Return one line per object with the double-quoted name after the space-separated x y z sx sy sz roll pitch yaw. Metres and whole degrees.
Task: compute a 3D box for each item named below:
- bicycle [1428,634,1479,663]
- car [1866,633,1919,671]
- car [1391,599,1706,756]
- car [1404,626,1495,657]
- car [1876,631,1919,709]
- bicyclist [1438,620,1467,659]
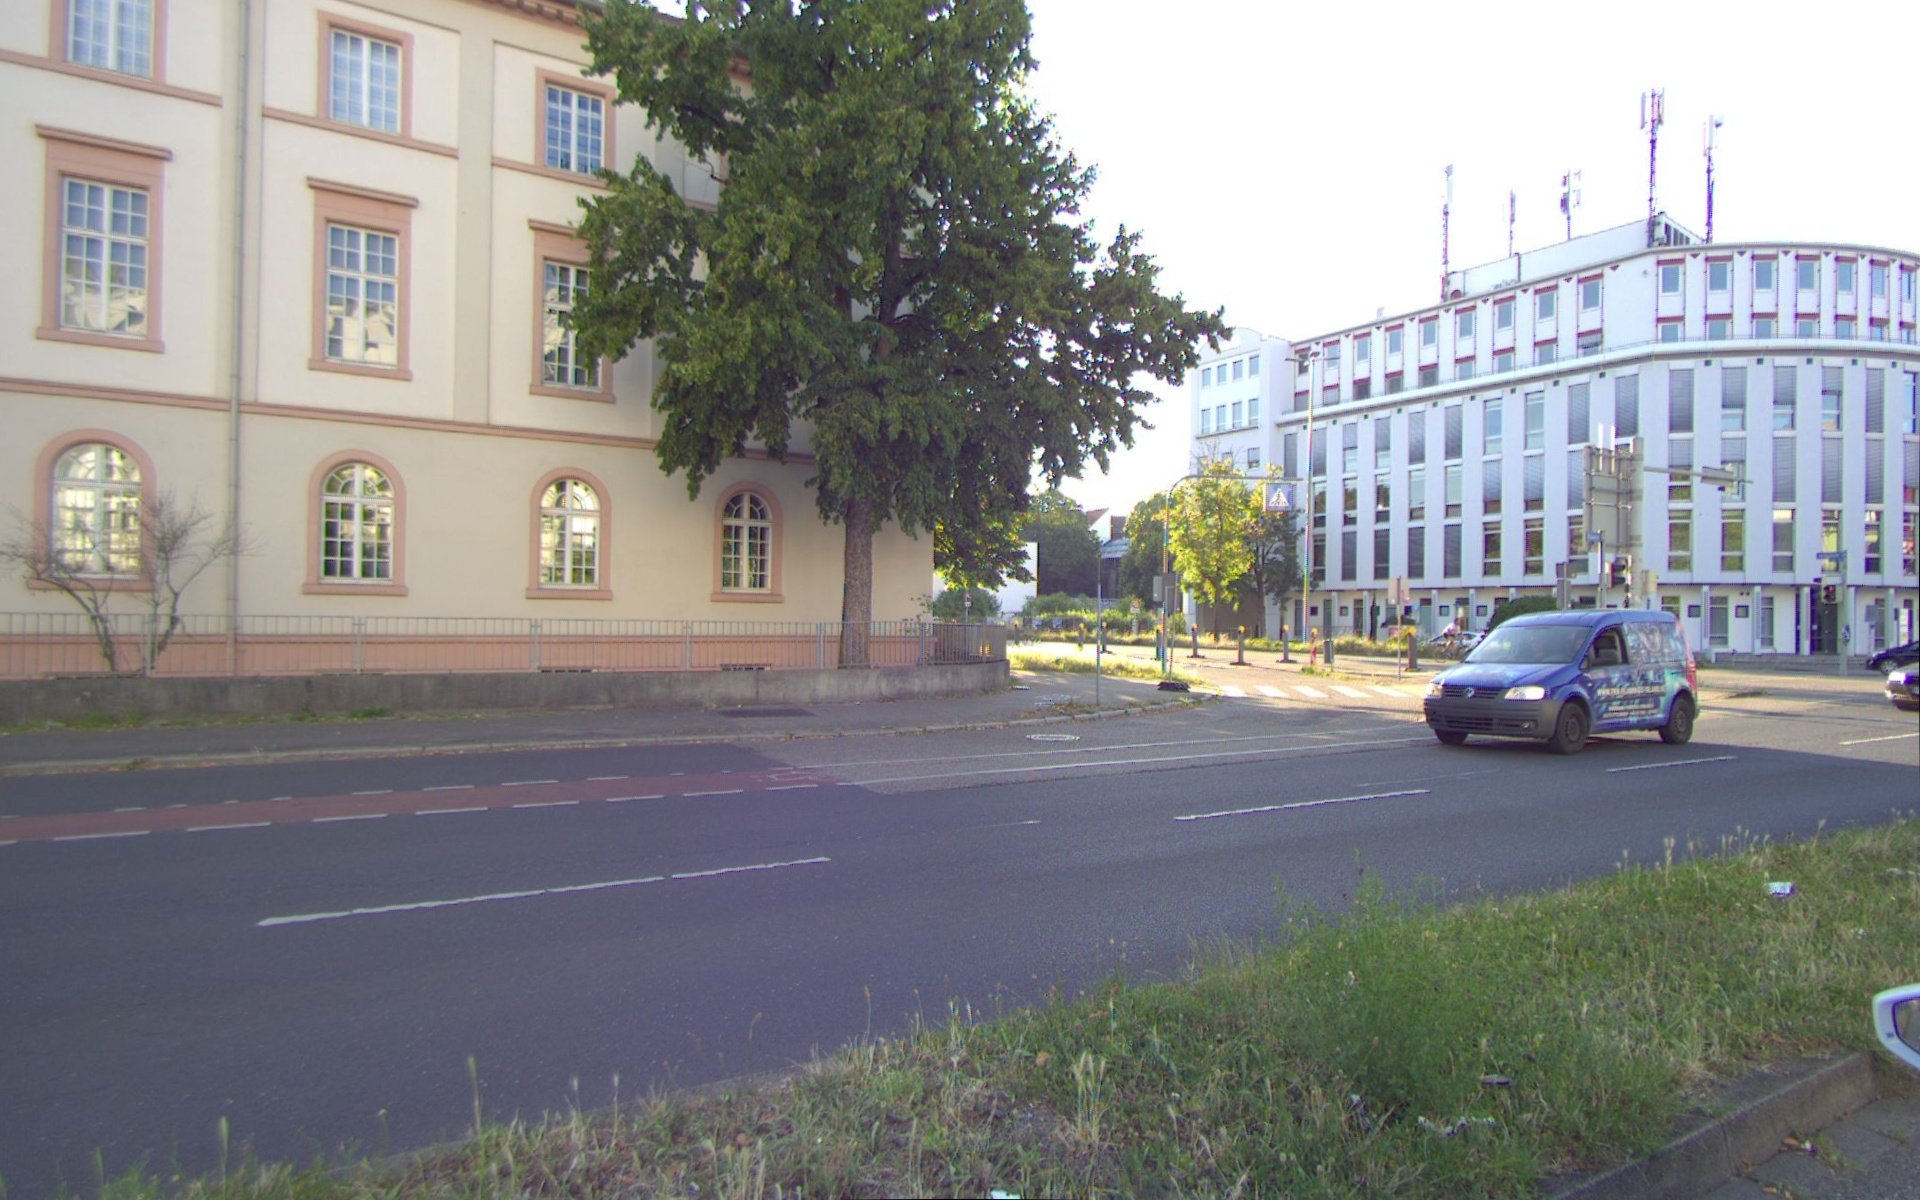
19.182 1.874 39.069 0.498 1.056 1.786 1 -1 -35 "bicycle"
34.610 1.864 35.528 1.819 1.313 3.579 1 -1 -37 "car"
8.054 0.961 13.682 4.181 1.841 1.984 1 -1 -31 "car"
24.261 2.039 49.871 1.634 1.390 3.757 1 -1 -35 "car"
20.155 1.348 19.296 4.168 1.461 1.699 1 -1 -13 "car"
19.165 1.534 39.088 0.453 1.516 0.879 1 -1 -36 "bicyclist"
